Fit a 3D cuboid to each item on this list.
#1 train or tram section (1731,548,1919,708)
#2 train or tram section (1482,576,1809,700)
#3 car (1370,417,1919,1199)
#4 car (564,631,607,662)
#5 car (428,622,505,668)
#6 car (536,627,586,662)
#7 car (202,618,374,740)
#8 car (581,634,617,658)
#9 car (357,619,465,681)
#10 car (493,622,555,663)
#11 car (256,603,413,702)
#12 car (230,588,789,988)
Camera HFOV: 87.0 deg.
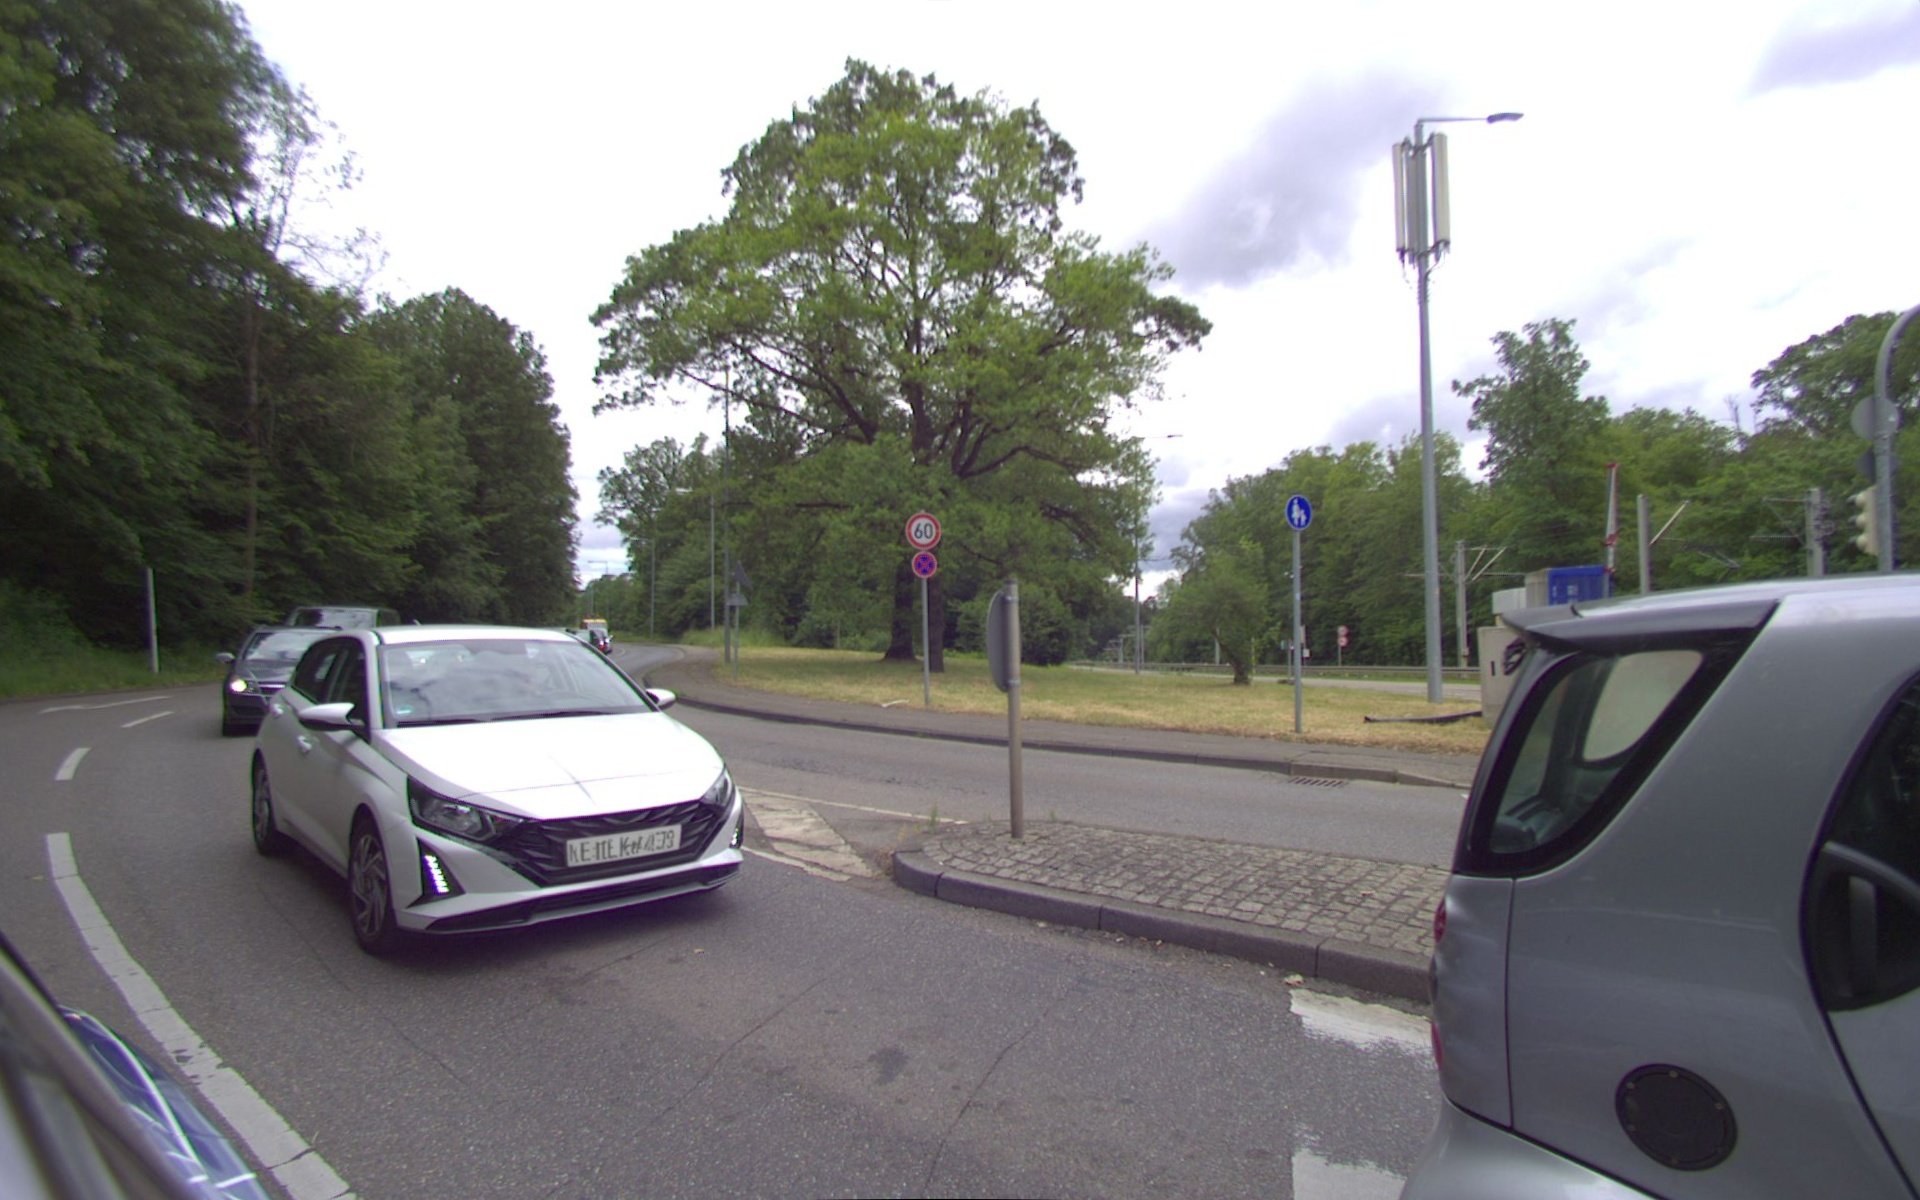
[{"bbox_3d":[29.654,0.802,27.204,2.913,4.686,18.556,1,-1,-3],"label":"train or tram section"},{"bbox_3d":[29.748,1.531,46.144,2.926,4.452,18.713,1,-1,3],"label":"train or tram section"},{"bbox_3d":[2.128,0.603,1.237,2.724,1.598,1.443,-1,-3,39],"label":"car"},{"bbox_3d":[-19.321,2.407,52.312,1.749,1.511,3.884,1,-3,-16],"label":"car"},{"bbox_3d":[-17.009,1.558,35.052,1.749,1.511,3.884,1,-3,-16],"label":"car"},{"bbox_3d":[-18.276,2.048,46.519,1.749,1.511,3.884,1,-3,-16],"label":"car"},{"bbox_3d":[-9.628,1.067,14.803,1.773,1.490,4.483,2,-3,-30],"label":"car"},{"bbox_3d":[-23.403,2.968,65.740,1.750,1.511,3.882,1,-3,-13],"label":"car"},{"bbox_3d":[-16.011,1.433,29.734,1.764,1.687,4.000,0,-2,-13],"label":"car"},{"bbox_3d":[-17.253,1.691,40.198,1.749,1.511,3.884,1,-3,-16],"label":"car"},{"bbox_3d":[-13.237,1.104,21.740,1.957,1.887,4.546,2,-3,-20],"label":"car"},{"bbox_3d":[-2.836,0.780,5.835,1.630,1.490,4.076,3,-4,-44],"label":"car"}]
